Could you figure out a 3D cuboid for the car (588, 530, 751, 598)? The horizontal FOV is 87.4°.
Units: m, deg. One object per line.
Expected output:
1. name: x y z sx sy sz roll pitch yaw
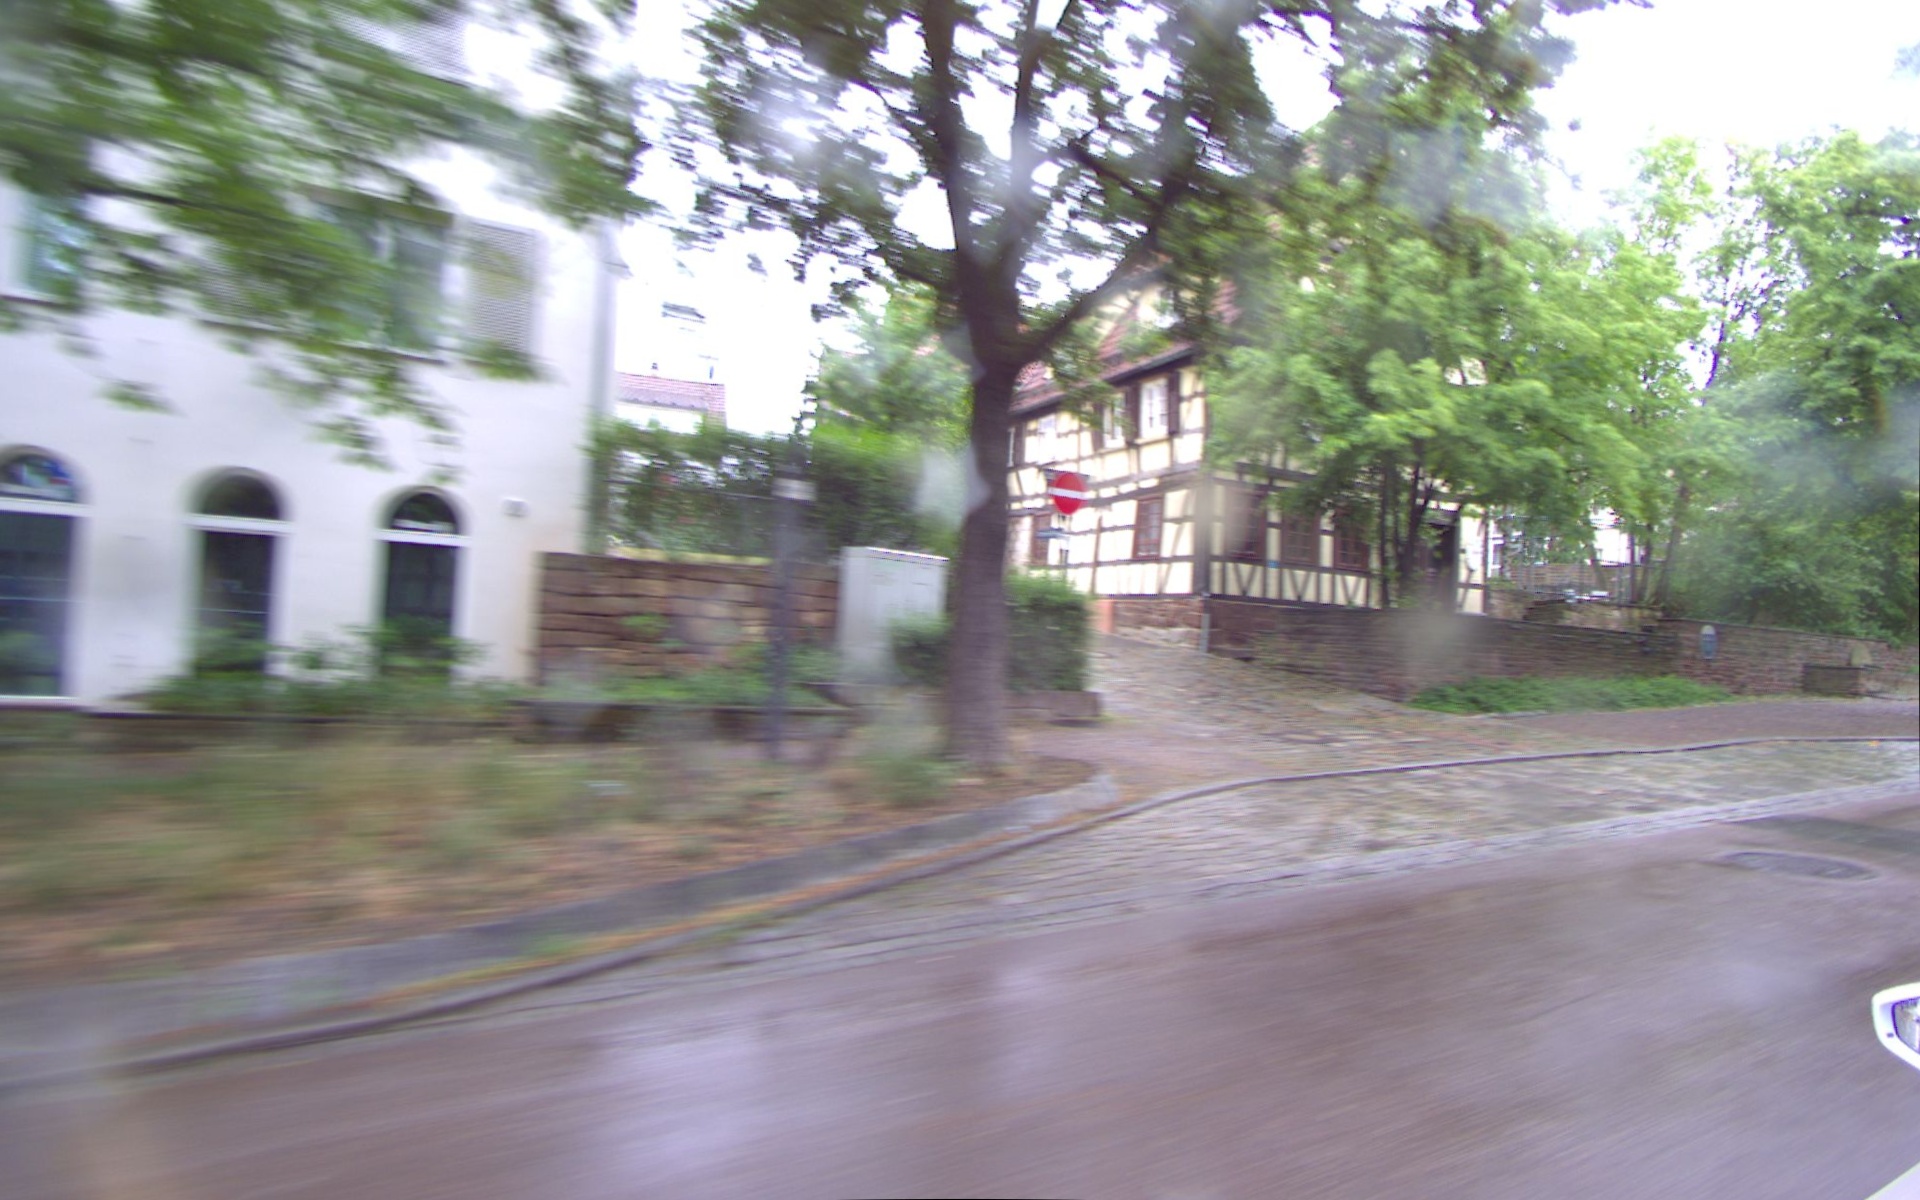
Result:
1. car: -7.391 -0.901 25.707 3.610 1.361 1.599 3 4 -38
